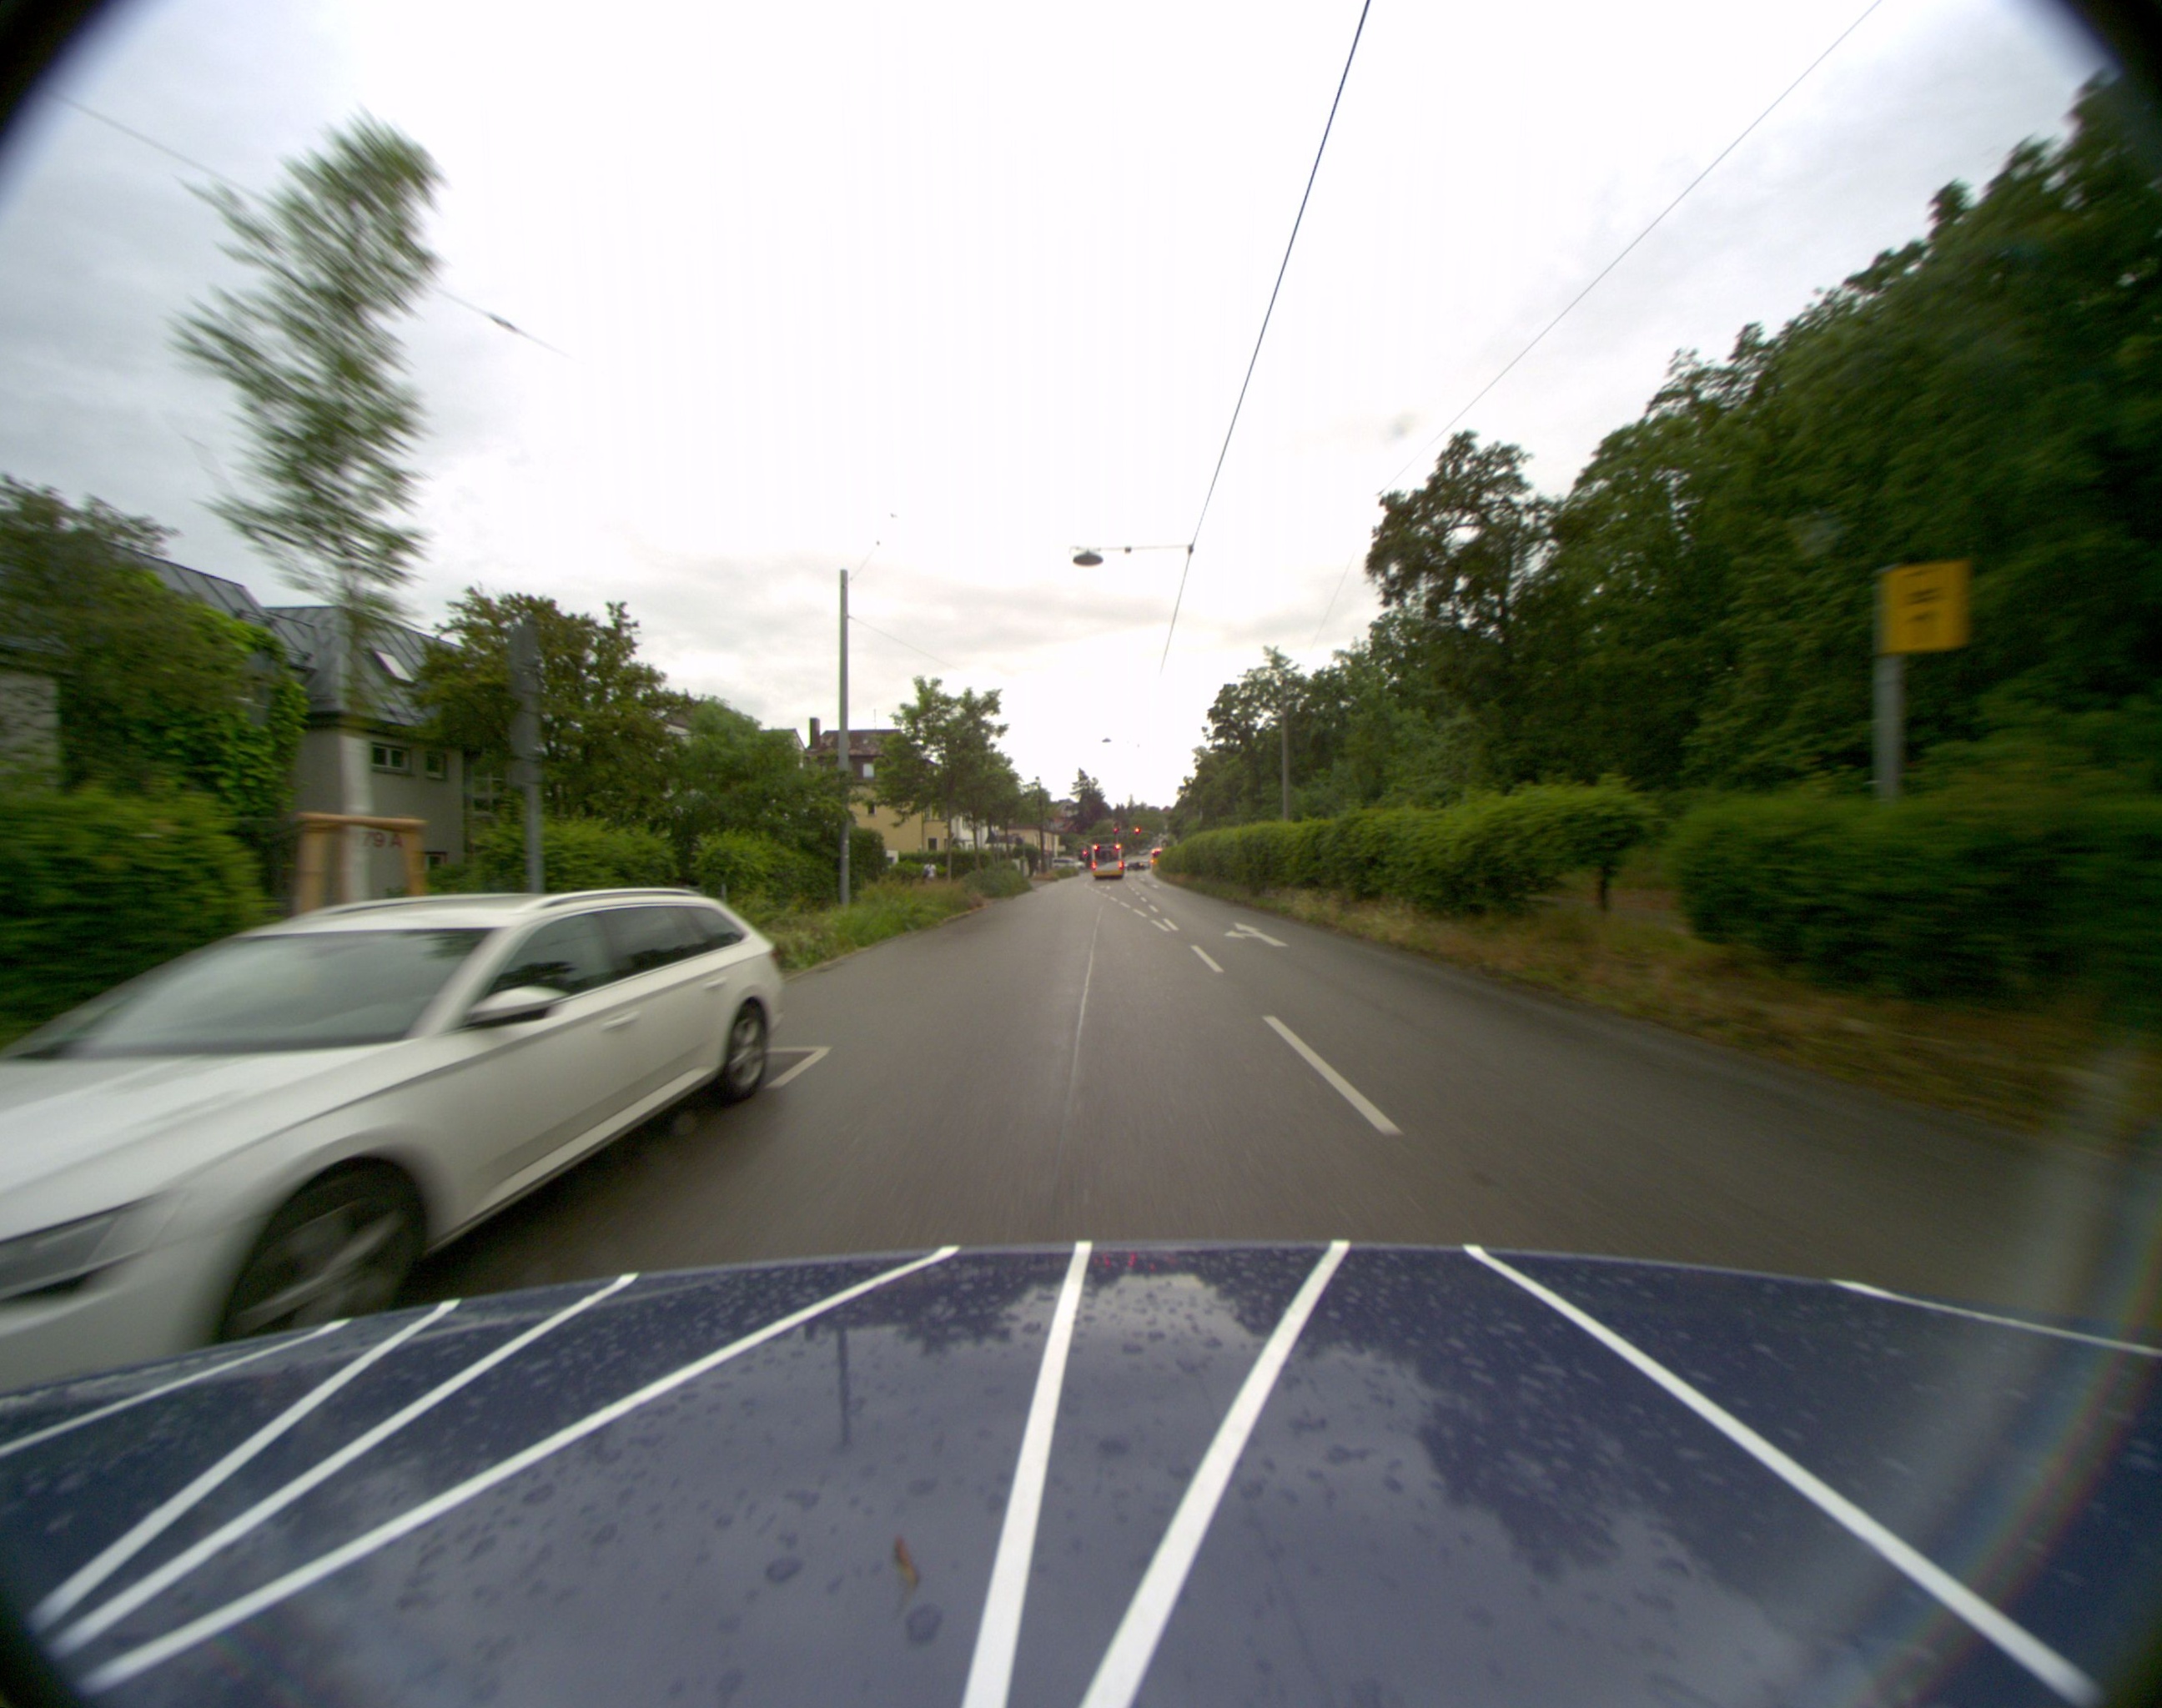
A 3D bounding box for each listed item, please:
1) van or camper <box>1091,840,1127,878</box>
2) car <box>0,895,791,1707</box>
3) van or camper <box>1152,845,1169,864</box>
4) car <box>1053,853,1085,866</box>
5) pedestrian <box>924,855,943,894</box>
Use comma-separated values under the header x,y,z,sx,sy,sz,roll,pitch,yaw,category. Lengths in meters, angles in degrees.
x,y,z,sx,sy,sz,roll,pitch,yaw,category
2.616,0.400,69.016,2.862,3.160,6.851,-3,0,4,van or camper
-3.156,1.092,3.486,1.800,1.465,4.548,-3,0,1,car
14.093,0.112,134.106,2.736,3.207,6.978,-3,0,7,van or camper
-2.058,0.948,130.256,5.048,1.967,2.001,-3,0,6,car
-6.734,0.934,34.639,0.635,1.722,0.714,-1,2,3,pedestrian
